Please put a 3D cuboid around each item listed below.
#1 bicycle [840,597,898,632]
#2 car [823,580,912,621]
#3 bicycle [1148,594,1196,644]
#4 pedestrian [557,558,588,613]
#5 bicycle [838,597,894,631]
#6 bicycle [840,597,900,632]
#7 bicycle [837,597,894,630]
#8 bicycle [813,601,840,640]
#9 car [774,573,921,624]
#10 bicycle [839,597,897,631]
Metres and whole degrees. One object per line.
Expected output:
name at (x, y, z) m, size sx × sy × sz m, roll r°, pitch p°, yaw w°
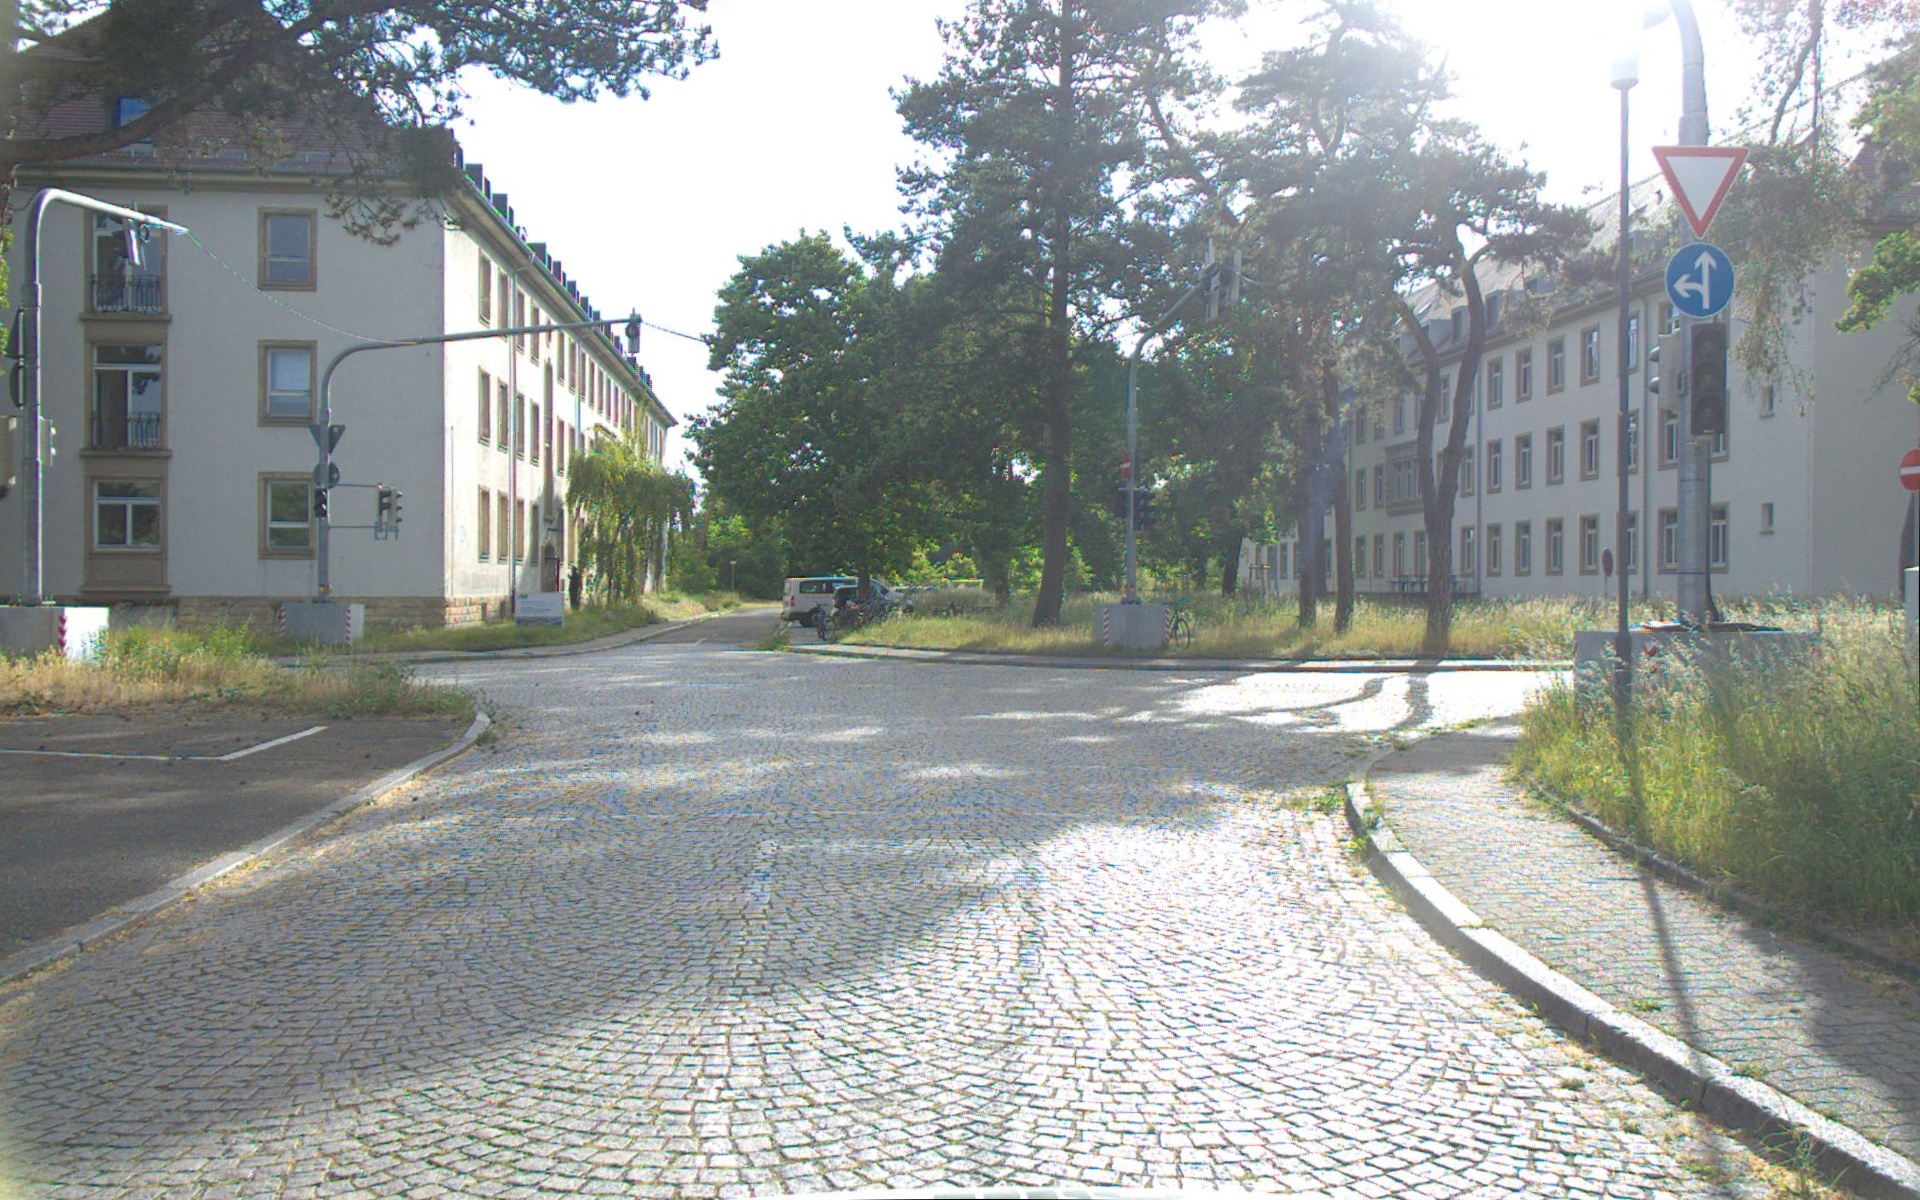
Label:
bicycle at (-2.792, 0.435, 50.599) m, size 1.758 × 1.016 × 0.643 m, roll 0°, pitch 1°, yaw -7°
car at (-3.468, 0.041, 61.923) m, size 2.985 × 1.491 × 1.711 m, roll 0°, pitch -1°, yaw -18°
bicycle at (4.611, 0.405, 36.080) m, size 0.552 × 1.016 × 1.748 m, roll 0°, pitch 1°, yaw -9°
pedestrian at (-14.250, -0.517, 60.838) m, size 0.966 × 1.998 × 0.931 m, roll 0°, pitch 0°, yaw -6°
bicycle at (-2.963, 0.433, 52.089) m, size 1.758 × 1.016 × 0.643 m, roll 0°, pitch 1°, yaw -7°
bicycle at (-2.698, 0.435, 49.584) m, size 1.758 × 1.016 × 0.643 m, roll 0°, pitch 1°, yaw -7°
bicycle at (-3.024, 0.431, 52.824) m, size 1.758 × 1.016 × 0.643 m, roll 0°, pitch 1°, yaw -7°
bicycle at (-3.711, 0.552, 45.882) m, size 0.714 × 1.016 × 1.797 m, roll 0°, pitch 1°, yaw -5°
car at (-4.445, -0.049, 65.406) m, size 5.418 × 1.949 × 2.242 m, roll 0°, pitch 0°, yaw -19°
bicycle at (-2.861, 0.434, 51.318) m, size 1.758 × 1.016 × 0.643 m, roll 0°, pitch 1°, yaw -7°
